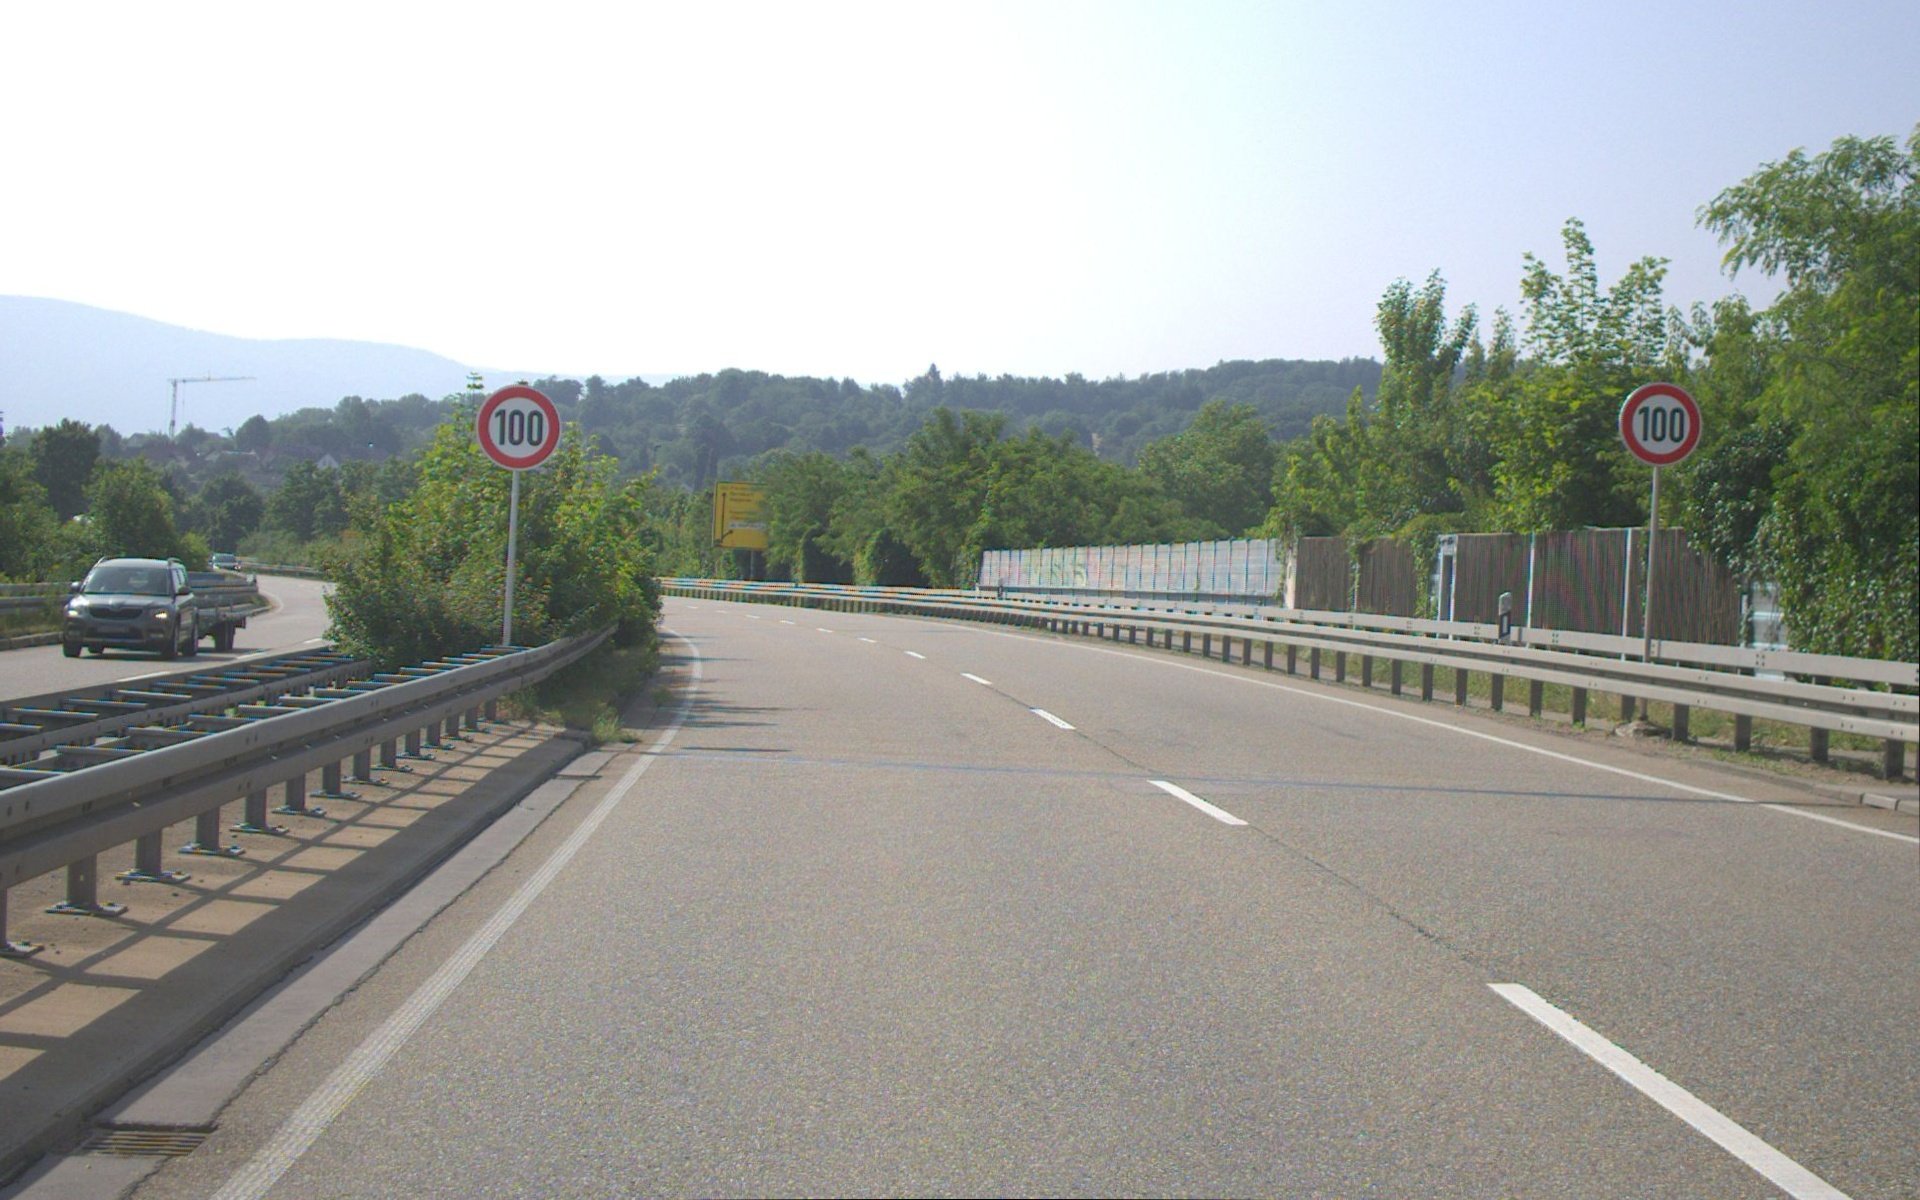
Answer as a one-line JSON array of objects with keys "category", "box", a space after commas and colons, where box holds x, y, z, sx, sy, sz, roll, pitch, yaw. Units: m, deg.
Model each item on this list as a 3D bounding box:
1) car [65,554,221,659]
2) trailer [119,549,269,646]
[{"category": "car", "box": [-13.391, 0.084, 56.551, 1.723, 1.591, 4.000, 3, 1, -3]}, {"category": "trailer", "box": [-13.527, -0.072, 60.963, 1.718, 1.573, 4.813, 3, 1, -2]}]
